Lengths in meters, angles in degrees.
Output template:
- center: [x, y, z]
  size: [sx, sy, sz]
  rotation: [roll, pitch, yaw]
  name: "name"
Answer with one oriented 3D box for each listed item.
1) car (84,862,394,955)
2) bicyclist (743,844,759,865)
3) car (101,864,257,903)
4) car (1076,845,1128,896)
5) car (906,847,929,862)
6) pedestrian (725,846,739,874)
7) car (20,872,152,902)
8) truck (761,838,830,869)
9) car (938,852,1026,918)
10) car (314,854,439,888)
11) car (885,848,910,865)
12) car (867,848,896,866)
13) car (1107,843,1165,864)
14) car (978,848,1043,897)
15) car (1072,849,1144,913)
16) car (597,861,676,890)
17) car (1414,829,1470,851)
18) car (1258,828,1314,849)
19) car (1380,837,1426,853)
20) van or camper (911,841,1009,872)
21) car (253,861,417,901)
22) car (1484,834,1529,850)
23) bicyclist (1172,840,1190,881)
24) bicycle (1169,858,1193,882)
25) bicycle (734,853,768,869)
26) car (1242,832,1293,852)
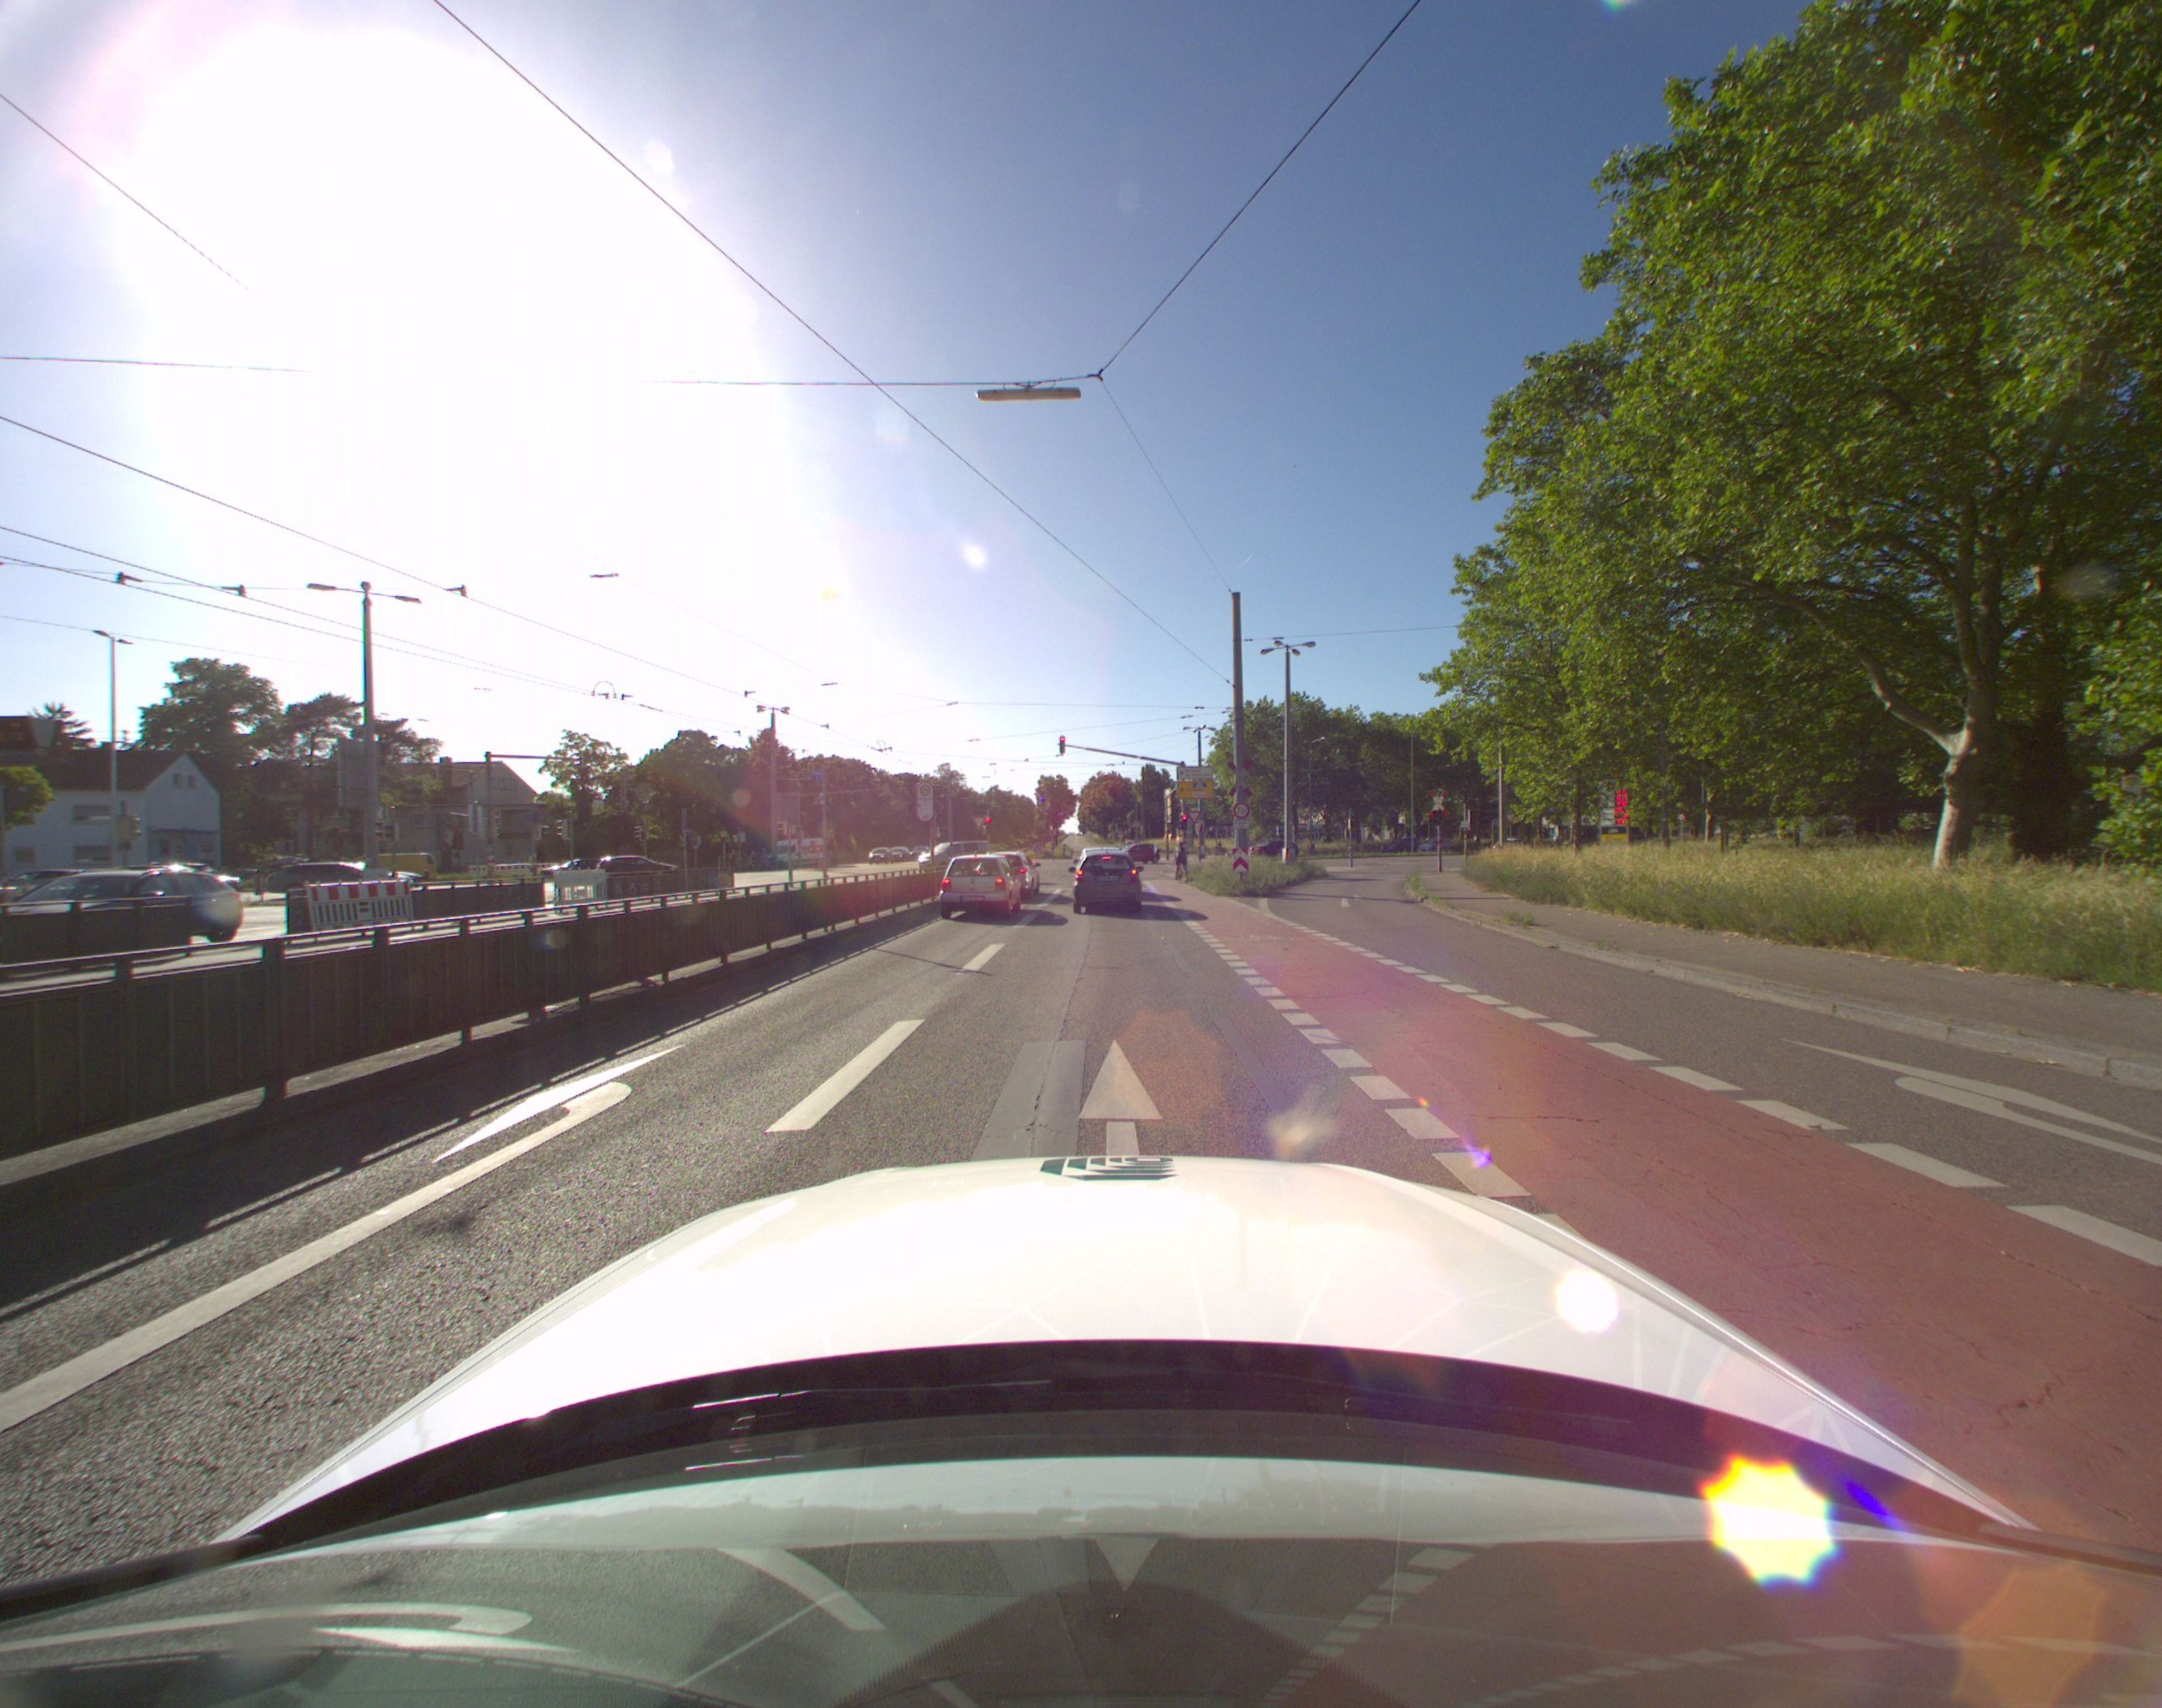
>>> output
- center: [-16.853, 0.996, 16.699]
  size: [1.729, 1.520, 4.345]
  rotation: [-1, 0, 1]
  name: "car"
- center: [-26.463, 0.038, 65.304]
  size: [1.009, 1.647, 0.813]
  rotation: [-1, 0, -16]
  name: "bicyclist"
- center: [-38.988, 1.242, 35.341]
  size: [4.181, 1.432, 1.580]
  rotation: [-2, 1, -25]
  name: "car"
- center: [0.708, 0.513, 27.595]
  size: [1.605, 1.562, 4.289]
  rotation: [-1, 0, 2]
  name: "car"
- center: [-17.985, 0.010, 89.687]
  size: [1.991, 1.604, 4.746]
  rotation: [0, 1, -6]
  name: "car"
- center: [-25.769, 0.442, 60.186]
  size: [0.748, 2.013, 0.789]
  rotation: [-1, 0, -10]
  name: "pedestrian"
- center: [-52.047, 1.717, 42.703]
  size: [4.001, 1.473, 1.740]
  rotation: [0, 0, -21]
  name: "car"
- center: [-25.289, -0.087, 72.506]
  size: [1.978, 2.565, 6.854]
  rotation: [-1, 0, 17]
  name: "truck"
- center: [-2.314, 0.691, 19.809]
  size: [1.613, 1.417, 3.352]
  rotation: [-2, 0, 1]
  name: "car"
- center: [-41.350, 0.969, 48.001]
  size: [5.181, 1.879, 1.983]
  rotation: [0, 0, -26]
  name: "car"
- center: [-18.036, 0.231, 80.167]
  size: [1.829, 1.548, 4.277]
  rotation: [-1, 0, -5]
  name: "car"
- center: [-18.167, 0.261, 74.294]
  size: [1.829, 1.548, 3.993]
  rotation: [-1, 0, -5]
  name: "car"
- center: [4.077, -0.057, 60.354]
  size: [4.024, 1.402, 1.596]
  rotation: [-2, 1, -26]
  name: "car"
- center: [-2.219, 0.551, 26.521]
  size: [1.613, 1.457, 4.086]
  rotation: [0, 0, 2]
  name: "car"
- center: [0.631, 0.624, 20.955]
  size: [1.663, 1.461, 3.585]
  rotation: [-1, 0, 0]
  name: "car"
- center: [-24.197, 1.149, 44.475]
  size: [3.682, 1.378, 1.515]
  rotation: [-2, 0, -25]
  name: "car"
- center: [34.494, -1.335, 77.885]
  size: [4.906, 2.013, 1.986]
  rotation: [-2, 1, -21]
  name: "car"
- center: [18.766, -1.414, 74.566]
  size: [4.705, 1.879, 1.986]
  rotation: [0, 0, -21]
  name: "car"
- center: [31.756, -0.859, 80.439]
  size: [3.999, 1.578, 1.868]
  rotation: [0, 0, -19]
  name: "car"
- center: [-7.577, 0.130, 51.560]
  size: [6.019, 1.828, 1.976]
  rotation: [-2, 0, -40]
  name: "van or camper"
- center: [-31.929, 1.116, 35.060]
  size: [4.844, 1.497, 1.771]
  rotation: [-2, 1, -25]
  name: "car"
- center: [44.657, -1.215, 85.464]
  size: [4.526, 1.574, 1.681]
  rotation: [-2, 0, -21]
  name: "car"
- center: [4.238, 0.260, 34.666]
  size: [0.663, 1.716, 0.948]
  rotation: [0, 0, 1]
  name: "bicyclist"
- center: [4.238, 0.666, 34.746]
  size: [0.719, 0.989, 2.877]
  rotation: [0, 0, 1]
  name: "bicycle"
- center: [-26.457, 0.562, 65.326]
  size: [2.401, 1.262, 0.813]
  rotation: [-1, 0, -17]
  name: "bicycle"
- center: [15.853, -1.005, 69.129]
  size: [4.002, 1.531, 1.594]
  rotation: [-2, 1, -21]
  name: "car"
